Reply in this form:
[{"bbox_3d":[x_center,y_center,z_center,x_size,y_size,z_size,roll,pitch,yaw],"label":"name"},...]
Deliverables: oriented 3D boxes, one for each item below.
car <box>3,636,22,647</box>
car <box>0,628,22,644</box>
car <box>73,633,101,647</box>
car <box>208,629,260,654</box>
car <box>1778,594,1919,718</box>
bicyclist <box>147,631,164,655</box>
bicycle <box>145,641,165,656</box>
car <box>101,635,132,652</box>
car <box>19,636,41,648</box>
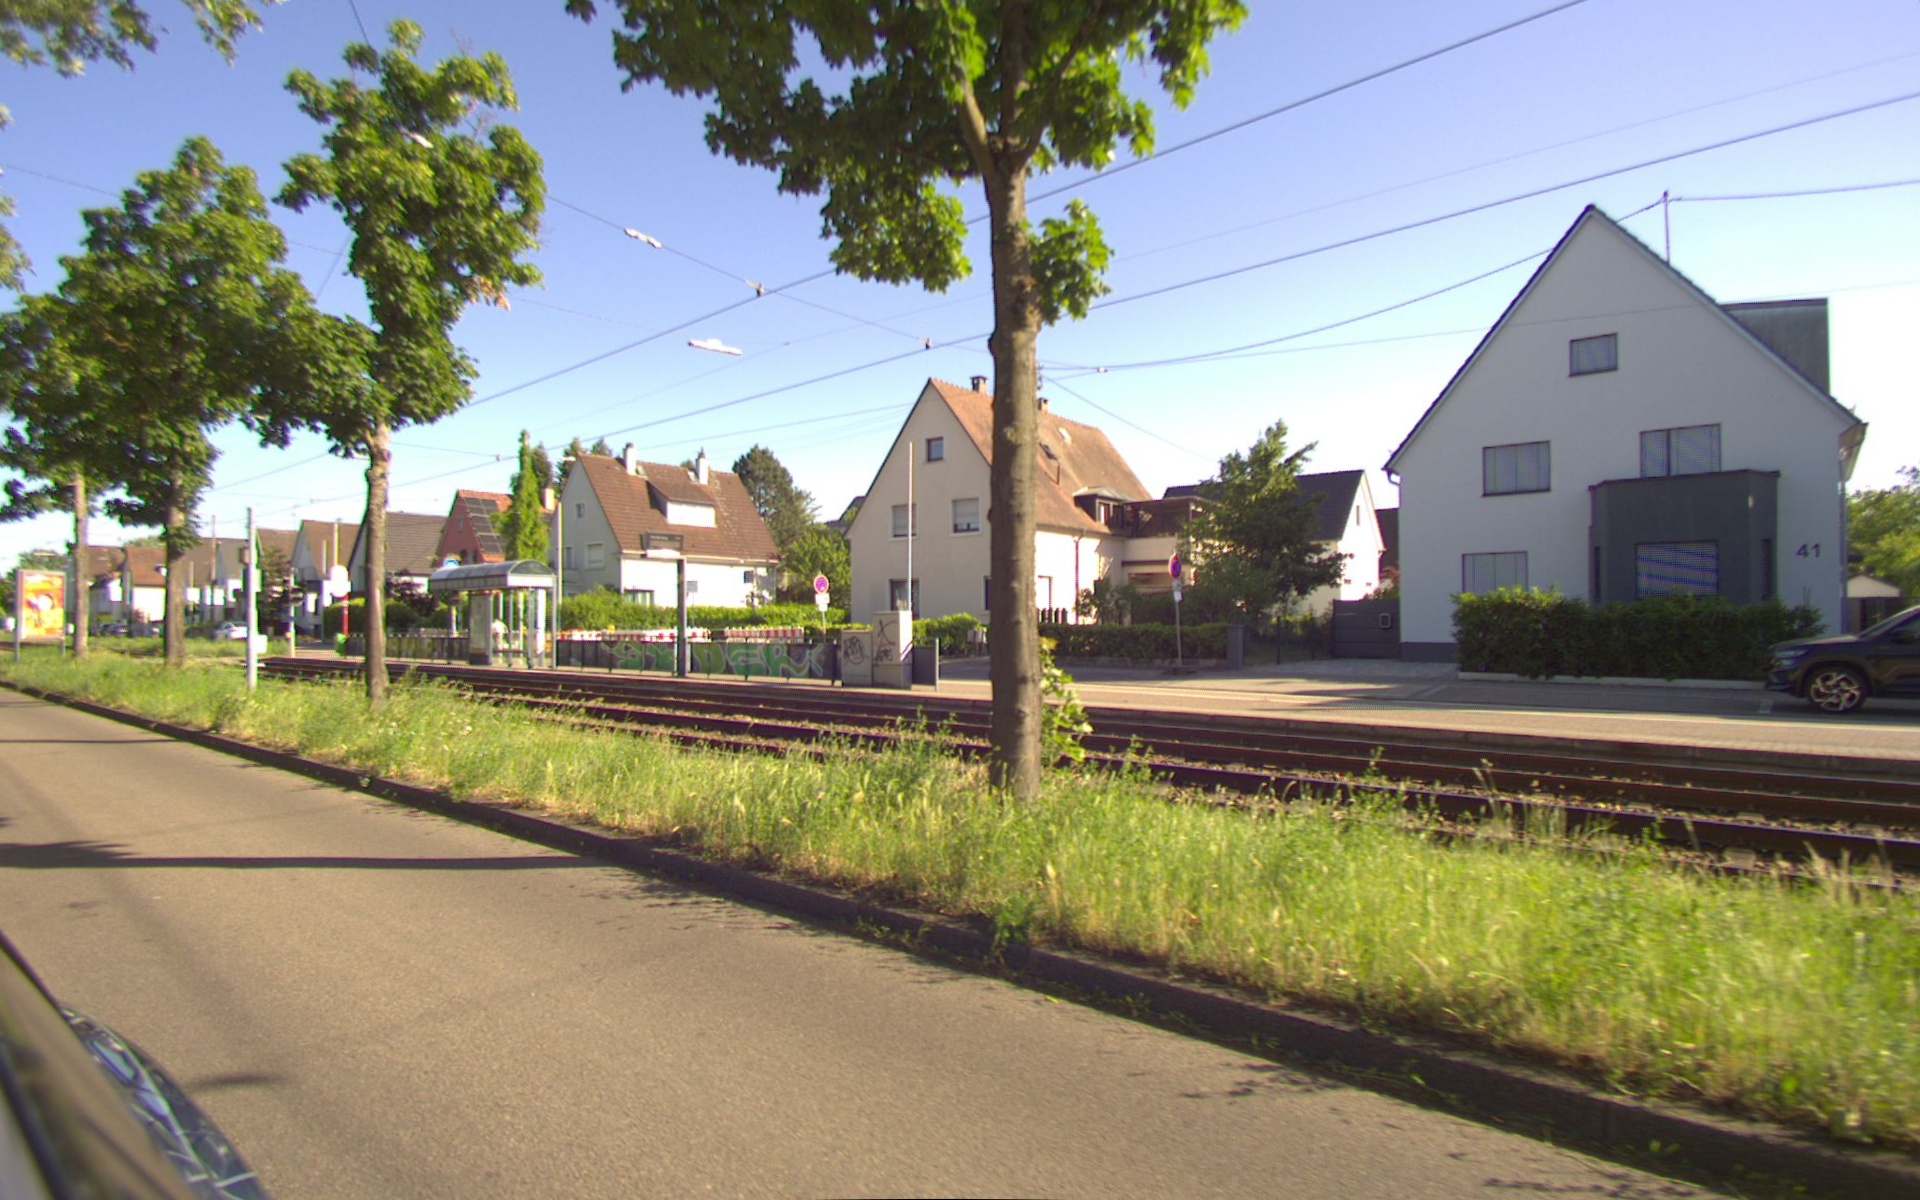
[{"bbox_3d":[-134.019,5.866,143.191,4.001,1.517,1.767,-1,-1,44],"label":"car"},{"bbox_3d":[-137.335,5.175,146.482,4.001,2.239,2.104,-1,-1,44],"label":"car"},{"bbox_3d":[-94.675,4.290,109.766,3.821,1.392,1.733,-1,-1,41],"label":"car"},{"bbox_3d":[-52.400,2.946,73.028,4.836,1.691,1.973,-1,-1,41],"label":"car"},{"bbox_3d":[14.662,0.775,14.587,4.388,1.726,1.973,-1,-1,41],"label":"car"},{"bbox_3d":[-64.318,3.453,80.889,1.071,1.901,0.843,-1,-1,41],"label":"bicyclist"},{"bbox_3d":[-64.365,3.837,80.926,2.308,1.143,0.843,-1,-1,41],"label":"bicycle"},{"bbox_3d":[-82.079,4.221,98.495,3.754,1.501,1.716,-1,-1,41],"label":"car"},{"bbox_3d":[-123.376,5.530,134.223,3.998,1.517,1.768,-1,-1,41],"label":"car"}]
